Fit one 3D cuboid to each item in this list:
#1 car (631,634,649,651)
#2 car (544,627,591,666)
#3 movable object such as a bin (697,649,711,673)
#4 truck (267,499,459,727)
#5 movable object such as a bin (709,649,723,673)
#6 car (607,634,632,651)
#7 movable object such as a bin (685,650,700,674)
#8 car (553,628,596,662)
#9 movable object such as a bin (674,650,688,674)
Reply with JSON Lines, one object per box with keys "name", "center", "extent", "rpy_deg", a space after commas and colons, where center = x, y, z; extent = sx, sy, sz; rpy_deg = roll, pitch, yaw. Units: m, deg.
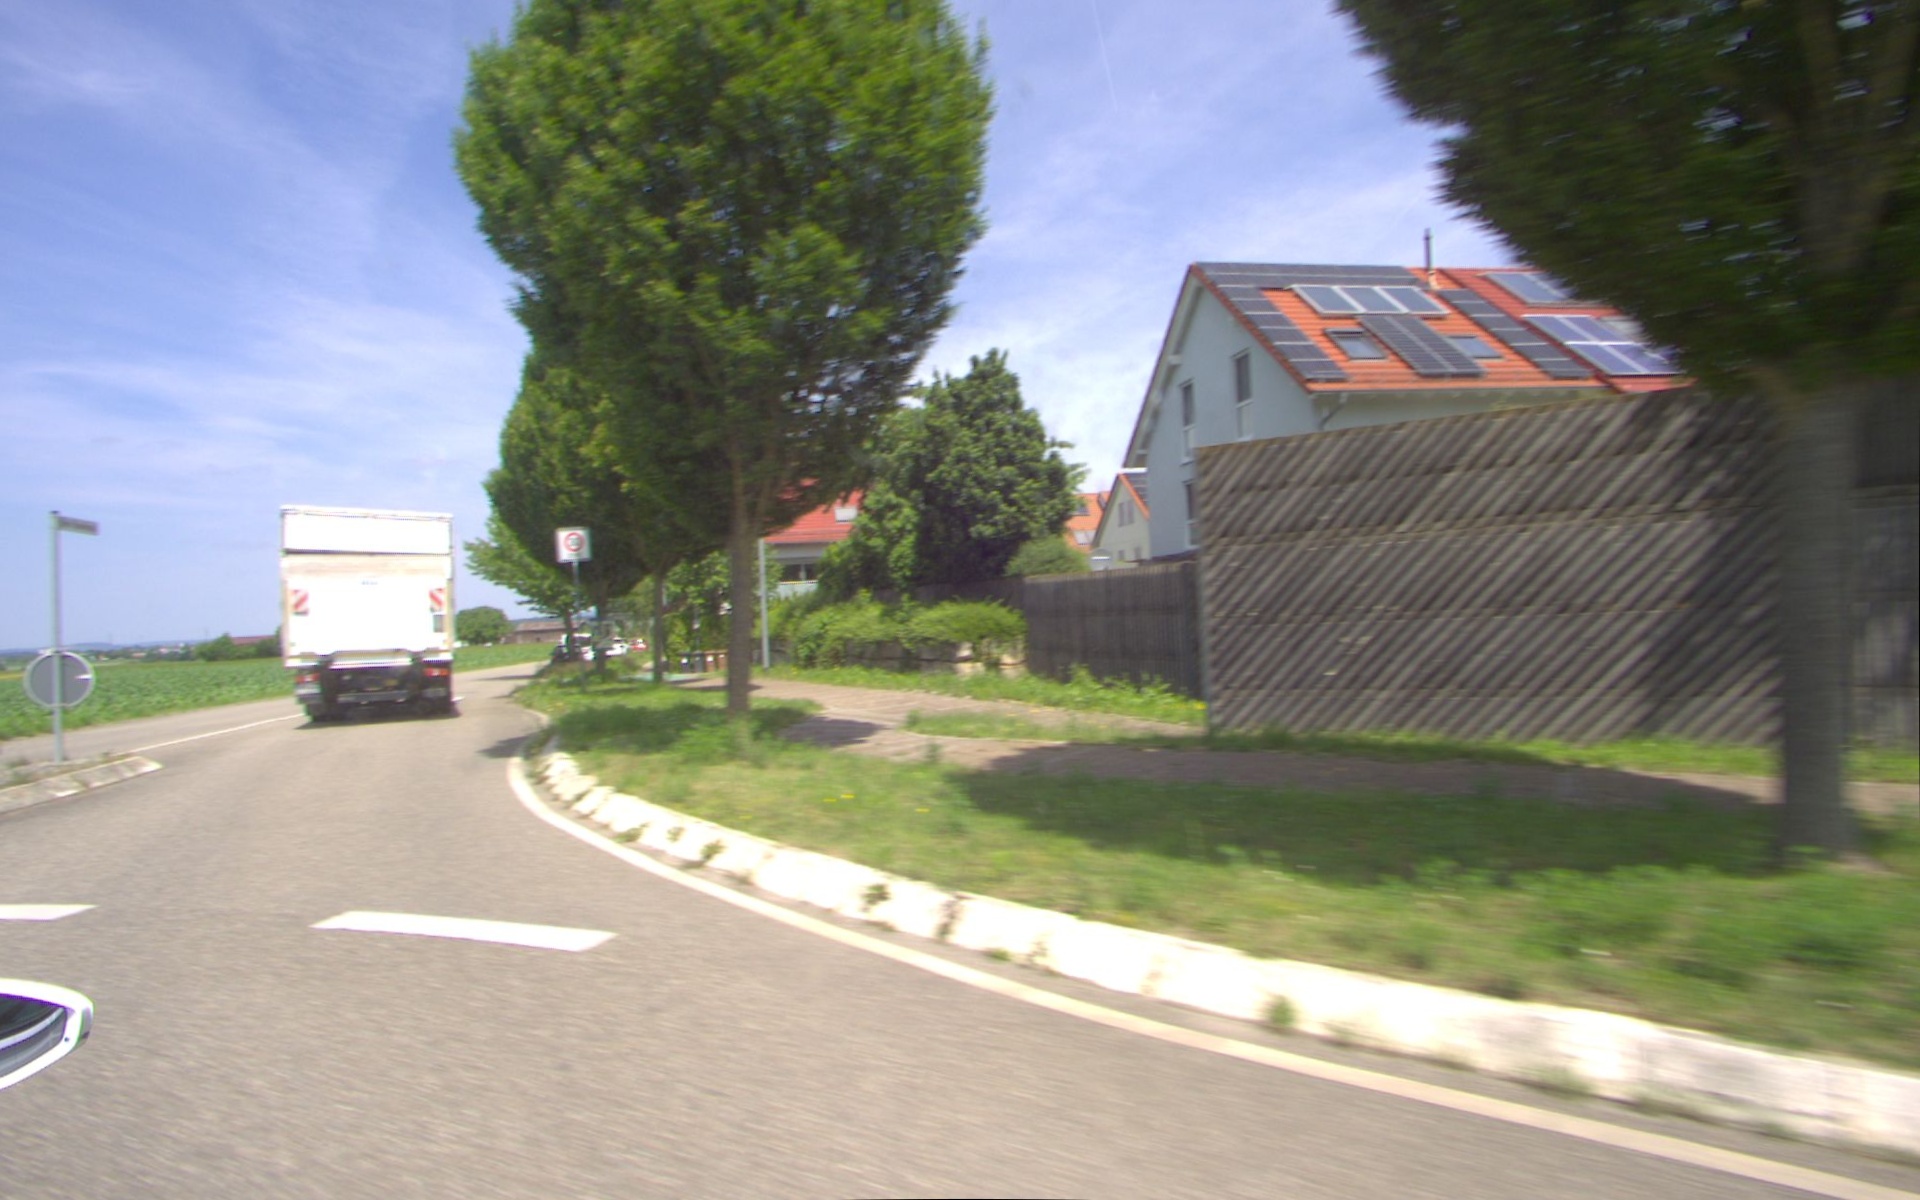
{"name": "car", "center": [-27.441, 3.660, 85.901], "extent": [1.263, 1.379, 3.286], "rpy_deg": [-3, -1, -15]}
{"name": "car", "center": [-19.890, 2.329, 50.922], "extent": [1.965, 1.817, 3.993], "rpy_deg": [-2, -1, -19]}
{"name": "movable object such as a bin", "center": [-10.842, 2.582, 42.396], "extent": [0.432, 0.979, 0.499], "rpy_deg": [-2, 0, 3]}
{"name": "truck", "center": [-12.251, 0.366, 21.122], "extent": [2.734, 3.718, 9.343], "rpy_deg": [-1, -1, -28]}
{"name": "movable object such as a bin", "center": [-10.309, 2.558, 42.382], "extent": [0.432, 0.979, 0.499], "rpy_deg": [-2, 0, 3]}
{"name": "car", "center": [-25.154, 3.127, 73.974], "extent": [1.340, 1.151, 3.205], "rpy_deg": [-2, -1, -12]}
{"name": "movable object such as a bin", "center": [-11.322, 2.603, 42.407], "extent": [0.432, 0.979, 0.499], "rpy_deg": [-2, 0, 3]}
{"name": "car", "center": [-21.687, 2.544, 56.455], "extent": [1.965, 1.739, 3.993], "rpy_deg": [-3, -1, -18]}
{"name": "movable object such as a bin", "center": [-11.824, 2.624, 42.420], "extent": [0.432, 0.979, 0.499], "rpy_deg": [-2, 0, 3]}
